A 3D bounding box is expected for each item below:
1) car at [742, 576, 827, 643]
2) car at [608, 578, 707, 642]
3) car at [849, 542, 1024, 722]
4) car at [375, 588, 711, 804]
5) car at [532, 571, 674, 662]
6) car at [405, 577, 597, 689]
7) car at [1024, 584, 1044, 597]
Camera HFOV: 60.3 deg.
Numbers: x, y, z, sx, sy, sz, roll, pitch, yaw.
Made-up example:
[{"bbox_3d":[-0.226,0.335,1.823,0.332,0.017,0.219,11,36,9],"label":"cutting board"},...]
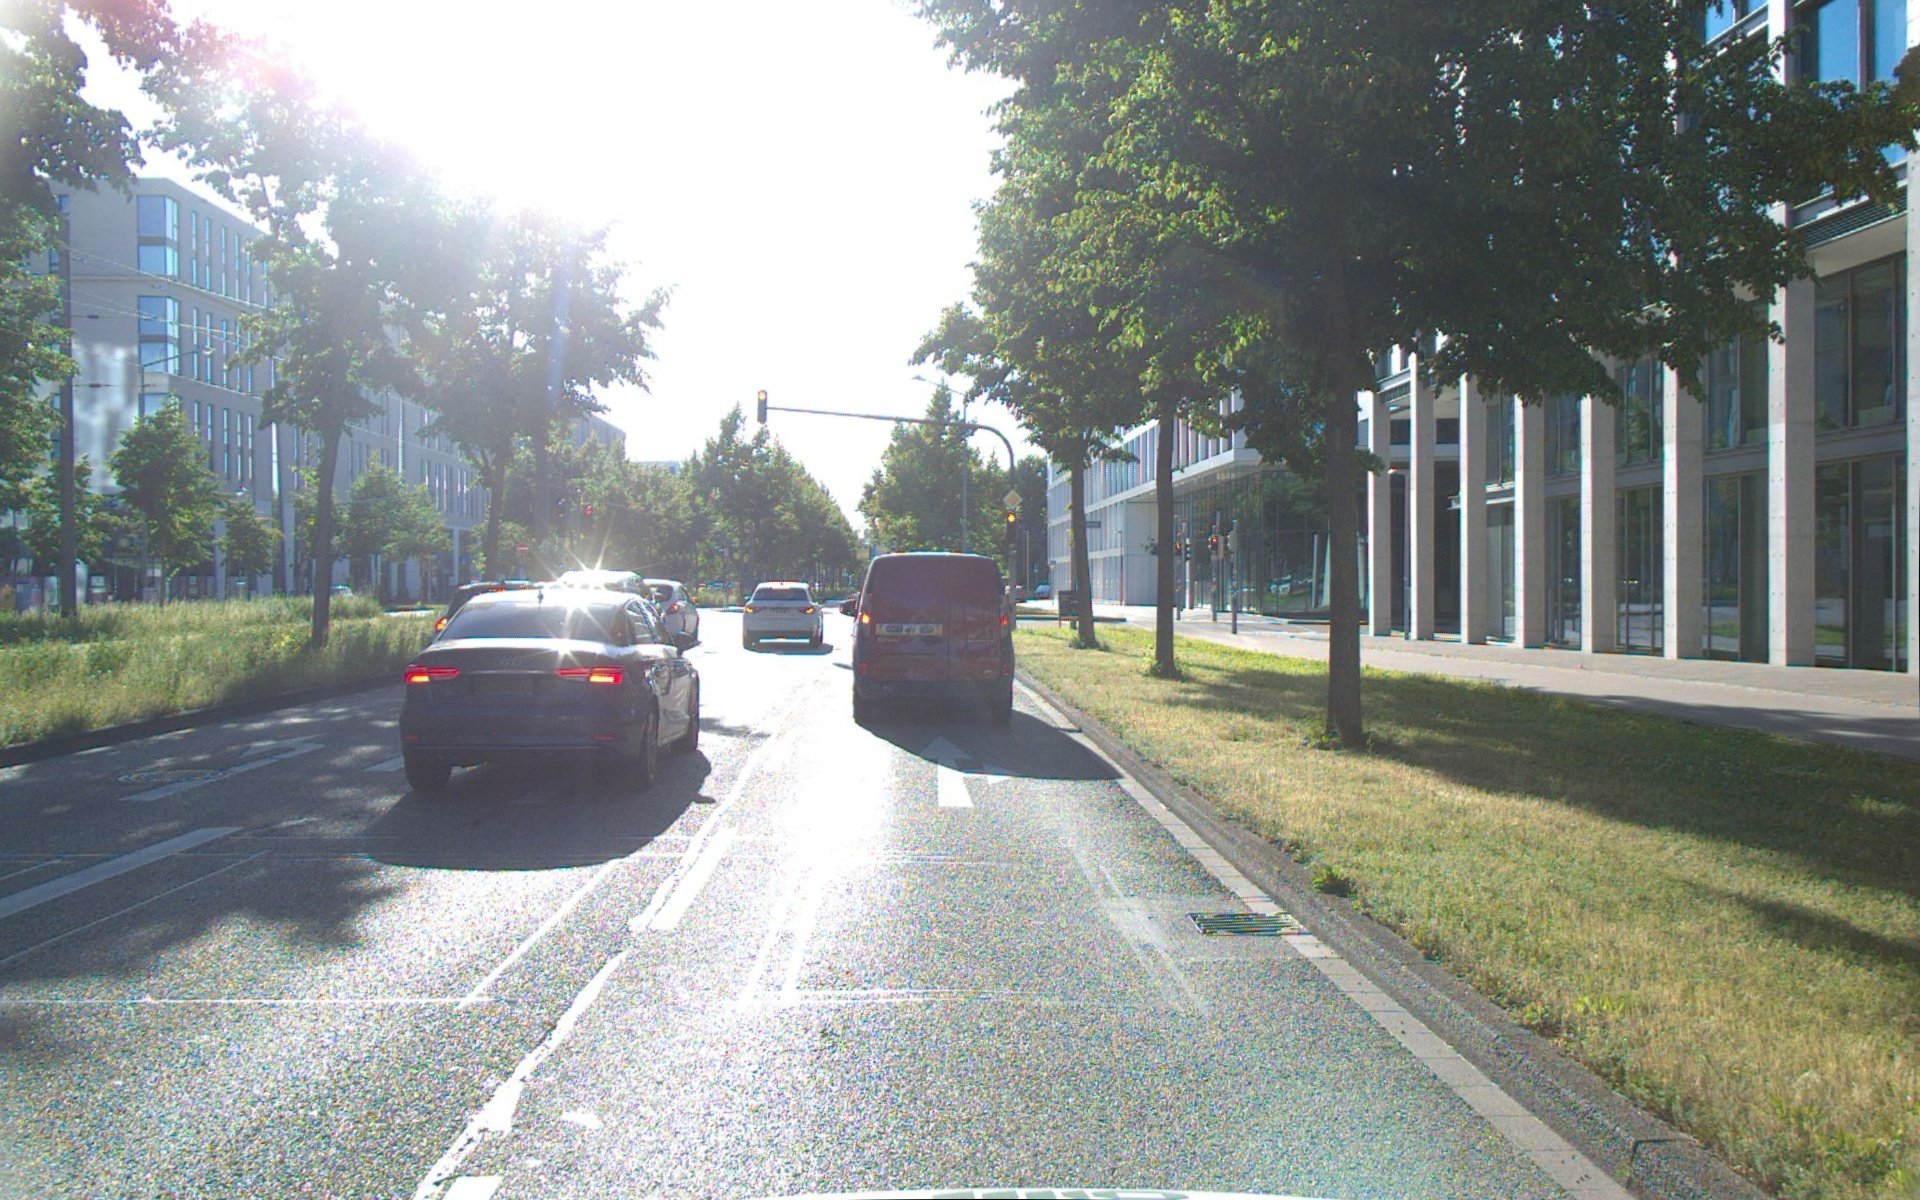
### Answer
[{"bbox_3d":[-3.970,0.189,37.951,1.686,1.450,3.815,0,1,-2],"label":"car"},{"bbox_3d":[-7.002,0.197,38.569,1.680,1.422,3.999,0,1,-2],"label":"car"},{"bbox_3d":[-0.258,0.308,19.060,1.761,1.808,4.000,2,1,-1],"label":"car"},{"bbox_3d":[-3.041,0.615,12.899,1.686,1.390,4.144,0,1,-2],"label":"car"},{"bbox_3d":[-6.495,0.285,30.504,1.805,1.561,3.939,0,0,-1],"label":"car"},{"bbox_3d":[-6.510,0.407,23.891,1.904,1.466,3.997,0,1,-4],"label":"car"},{"bbox_3d":[7.769,-1.011,173.293,1.534,1.392,3.329,0,1,-7],"label":"car"}]
